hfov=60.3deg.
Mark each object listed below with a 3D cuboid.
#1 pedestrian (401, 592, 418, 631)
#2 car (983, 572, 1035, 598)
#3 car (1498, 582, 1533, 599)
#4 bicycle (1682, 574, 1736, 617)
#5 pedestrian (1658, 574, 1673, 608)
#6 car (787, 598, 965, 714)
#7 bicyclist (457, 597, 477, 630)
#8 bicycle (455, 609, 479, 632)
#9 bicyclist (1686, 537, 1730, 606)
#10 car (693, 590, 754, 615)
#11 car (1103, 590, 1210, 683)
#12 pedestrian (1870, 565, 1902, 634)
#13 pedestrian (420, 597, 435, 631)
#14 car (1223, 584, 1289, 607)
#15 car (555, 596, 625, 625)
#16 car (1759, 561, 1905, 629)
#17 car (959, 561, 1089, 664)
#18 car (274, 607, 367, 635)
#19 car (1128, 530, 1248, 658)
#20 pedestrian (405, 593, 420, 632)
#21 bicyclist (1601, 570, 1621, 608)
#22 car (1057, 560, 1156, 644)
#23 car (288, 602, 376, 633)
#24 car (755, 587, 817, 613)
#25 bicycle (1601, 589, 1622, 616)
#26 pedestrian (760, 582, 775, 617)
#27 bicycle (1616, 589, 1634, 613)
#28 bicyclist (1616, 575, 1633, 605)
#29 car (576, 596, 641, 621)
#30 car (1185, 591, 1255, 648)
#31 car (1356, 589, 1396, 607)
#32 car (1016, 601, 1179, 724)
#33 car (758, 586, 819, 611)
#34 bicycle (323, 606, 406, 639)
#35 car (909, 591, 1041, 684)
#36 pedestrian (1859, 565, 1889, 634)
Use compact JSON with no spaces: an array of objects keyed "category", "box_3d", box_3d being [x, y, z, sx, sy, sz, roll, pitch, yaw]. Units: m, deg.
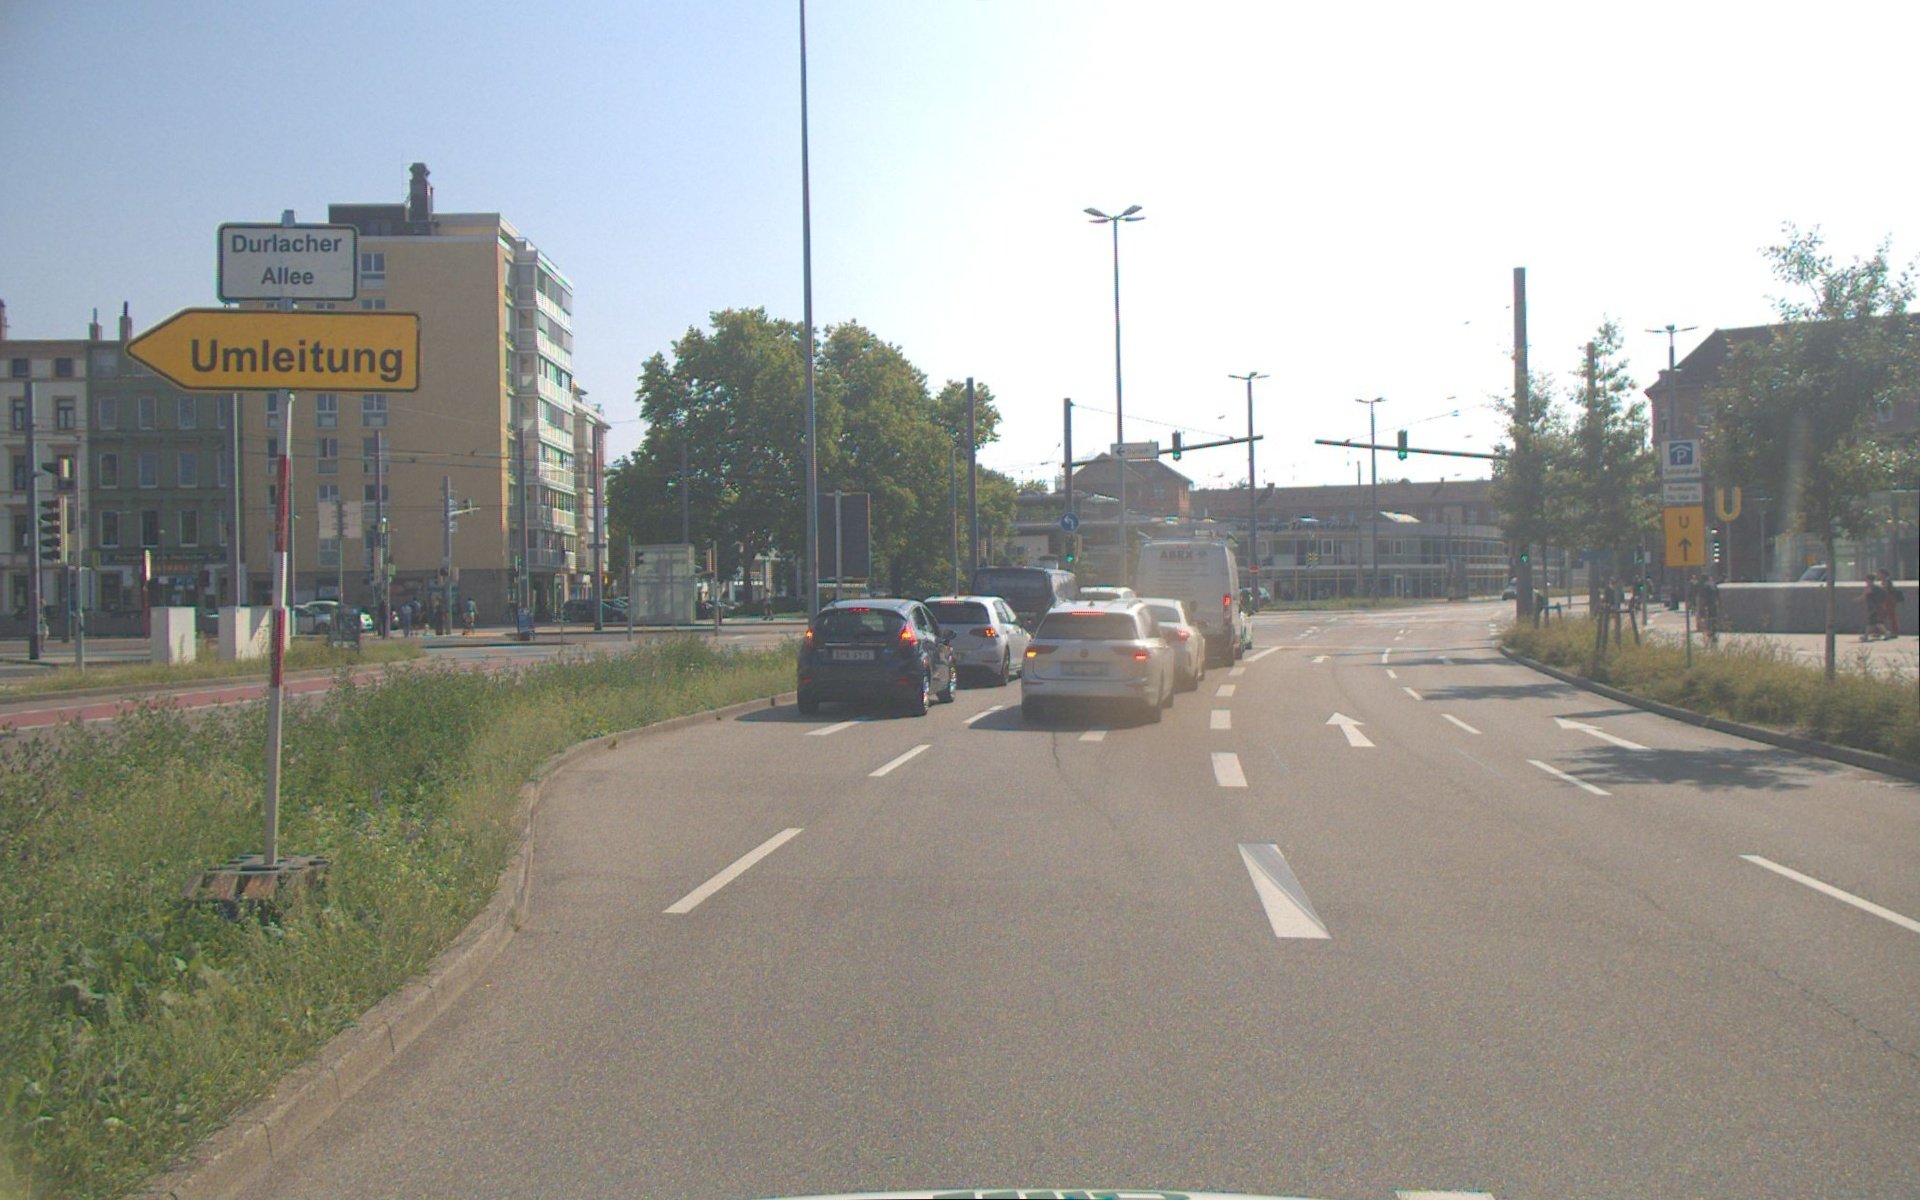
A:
[{"category":"pedestrian","box_3d":[-24.579,0.517,73.859,0.445,1.714,0.548,0,2,10]},{"category":"car","box_3d":[3.951,-1.213,133.403,3.902,2.048,2.002,0,3,9]},{"category":"car","box_3d":[51.272,-0.851,152.607,1.960,1.467,3.986,-1,0,36]},{"category":"bicycle","box_3d":[17.656,-0.107,39.019,0.755,0.993,2.152,-1,0,14]},{"category":"pedestrian","box_3d":[42.411,-0.540,99.424,0.731,2.049,0.806,-1,0,24]},{"category":"car","box_3d":[-1.023,0.682,22.111,1.665,1.392,3.967,0,0,8]},{"category":"bicyclist","box_3d":[-22.241,0.607,74.660,0.712,1.459,0.689,-1,0,-6]},{"category":"bicycle","box_3d":[-22.230,0.936,74.568,0.713,1.001,1.729,-1,0,-6]},{"category":"bicyclist","box_3d":[17.648,-0.672,39.032,0.755,1.606,0.991,-1,0,13]},{"category":"car","box_3d":[-15.881,0.187,111.113,3.907,1.585,1.727,-1,0,-3]},{"category":"car","box_3d":[3.314,0.566,27.440,1.457,1.427,3.945,0,0,11]},{"category":"pedestrian","box_3d":[22.629,-0.016,40.424,0.602,1.657,0.533,-1,0,26]},{"category":"pedestrian","box_3d":[-24.196,0.634,75.136,0.494,1.513,0.434,-3,3,-41]},{"category":"car","box_3d":[18.498,-0.279,103.435,3.882,1.366,1.932,-1,0,6]},{"category":"car","box_3d":[-22.839,0.644,102.192,3.906,1.584,1.869,-1,3,-2]},{"category":"car","box_3d":[28.081,-0.193,53.312,3.912,2.048,1.751,-1,3,-8]},{"category":"car","box_3d":[1.455,0.253,35.321,1.980,2.043,4.688,0,0,12]},{"category":"car","box_3d":[-29.832,0.975,77.201,3.750,1.200,1.576,-1,-2,1]},{"category":"car","box_3d":[5.038,-0.117,36.057,2.142,2.594,4.687,0,0,13]},{"category":"pedestrian","box_3d":[-24.701,0.556,74.649,0.452,1.714,0.434,-3,3,-41]},{"category":"bicyclist","box_3d":[26.692,-0.442,67.787,0.698,1.556,0.806,-1,0,24]},{"category":"car","box_3d":[3.872,0.047,42.925,1.980,2.043,4.688,0,0,12]},{"category":"car","box_3d":[-30.511,0.864,80.376,3.662,1.417,1.586,-1,0,-2]},{"category":"car","box_3d":[-11.643,0.021,111.081,3.904,1.646,1.814,-1,0,2]},{"category":"bicycle","box_3d":[26.707,0.093,67.770,0.692,1.080,1.981,-1,0,24]},{"category":"pedestrian","box_3d":[-11.309,-0.048,97.223,0.805,2.049,0.509,-1,0,0]},{"category":"bicycle","box_3d":[30.930,0.057,76.932,0.692,1.080,1.981,-1,0,24]},{"category":"bicyclist","box_3d":[30.928,-0.468,76.950,0.692,1.418,0.829,-1,0,24]},{"category":"car","box_3d":[-23.144,0.539,108.878,3.907,1.585,1.868,-1,0,-3]},{"category":"car","box_3d":[6.898,0.486,43.691,1.602,1.428,3.690,0,0,12]},{"category":"car","box_3d":[35.027,-0.171,139.191,1.959,1.467,3.987,-1,0,34]},{"category":"car","box_3d":[1.826,0.730,21.013,1.649,1.412,3.637,0,0,11]},{"category":"car","box_3d":[-11.749,-0.089,113.254,3.904,1.646,1.814,-1,0,2]},{"category":"bicycle","box_3d":[-31.836,1.195,88.461,3.908,1.578,1.195,-1,3,-4]},{"category":"car","box_3d":[0.323,0.595,28.181,1.457,1.440,3.651,-1,1,13]},{"category":"pedestrian","box_3d":[22.074,-0.013,39.943,0.603,1.667,0.532,-1,0,31]}]
